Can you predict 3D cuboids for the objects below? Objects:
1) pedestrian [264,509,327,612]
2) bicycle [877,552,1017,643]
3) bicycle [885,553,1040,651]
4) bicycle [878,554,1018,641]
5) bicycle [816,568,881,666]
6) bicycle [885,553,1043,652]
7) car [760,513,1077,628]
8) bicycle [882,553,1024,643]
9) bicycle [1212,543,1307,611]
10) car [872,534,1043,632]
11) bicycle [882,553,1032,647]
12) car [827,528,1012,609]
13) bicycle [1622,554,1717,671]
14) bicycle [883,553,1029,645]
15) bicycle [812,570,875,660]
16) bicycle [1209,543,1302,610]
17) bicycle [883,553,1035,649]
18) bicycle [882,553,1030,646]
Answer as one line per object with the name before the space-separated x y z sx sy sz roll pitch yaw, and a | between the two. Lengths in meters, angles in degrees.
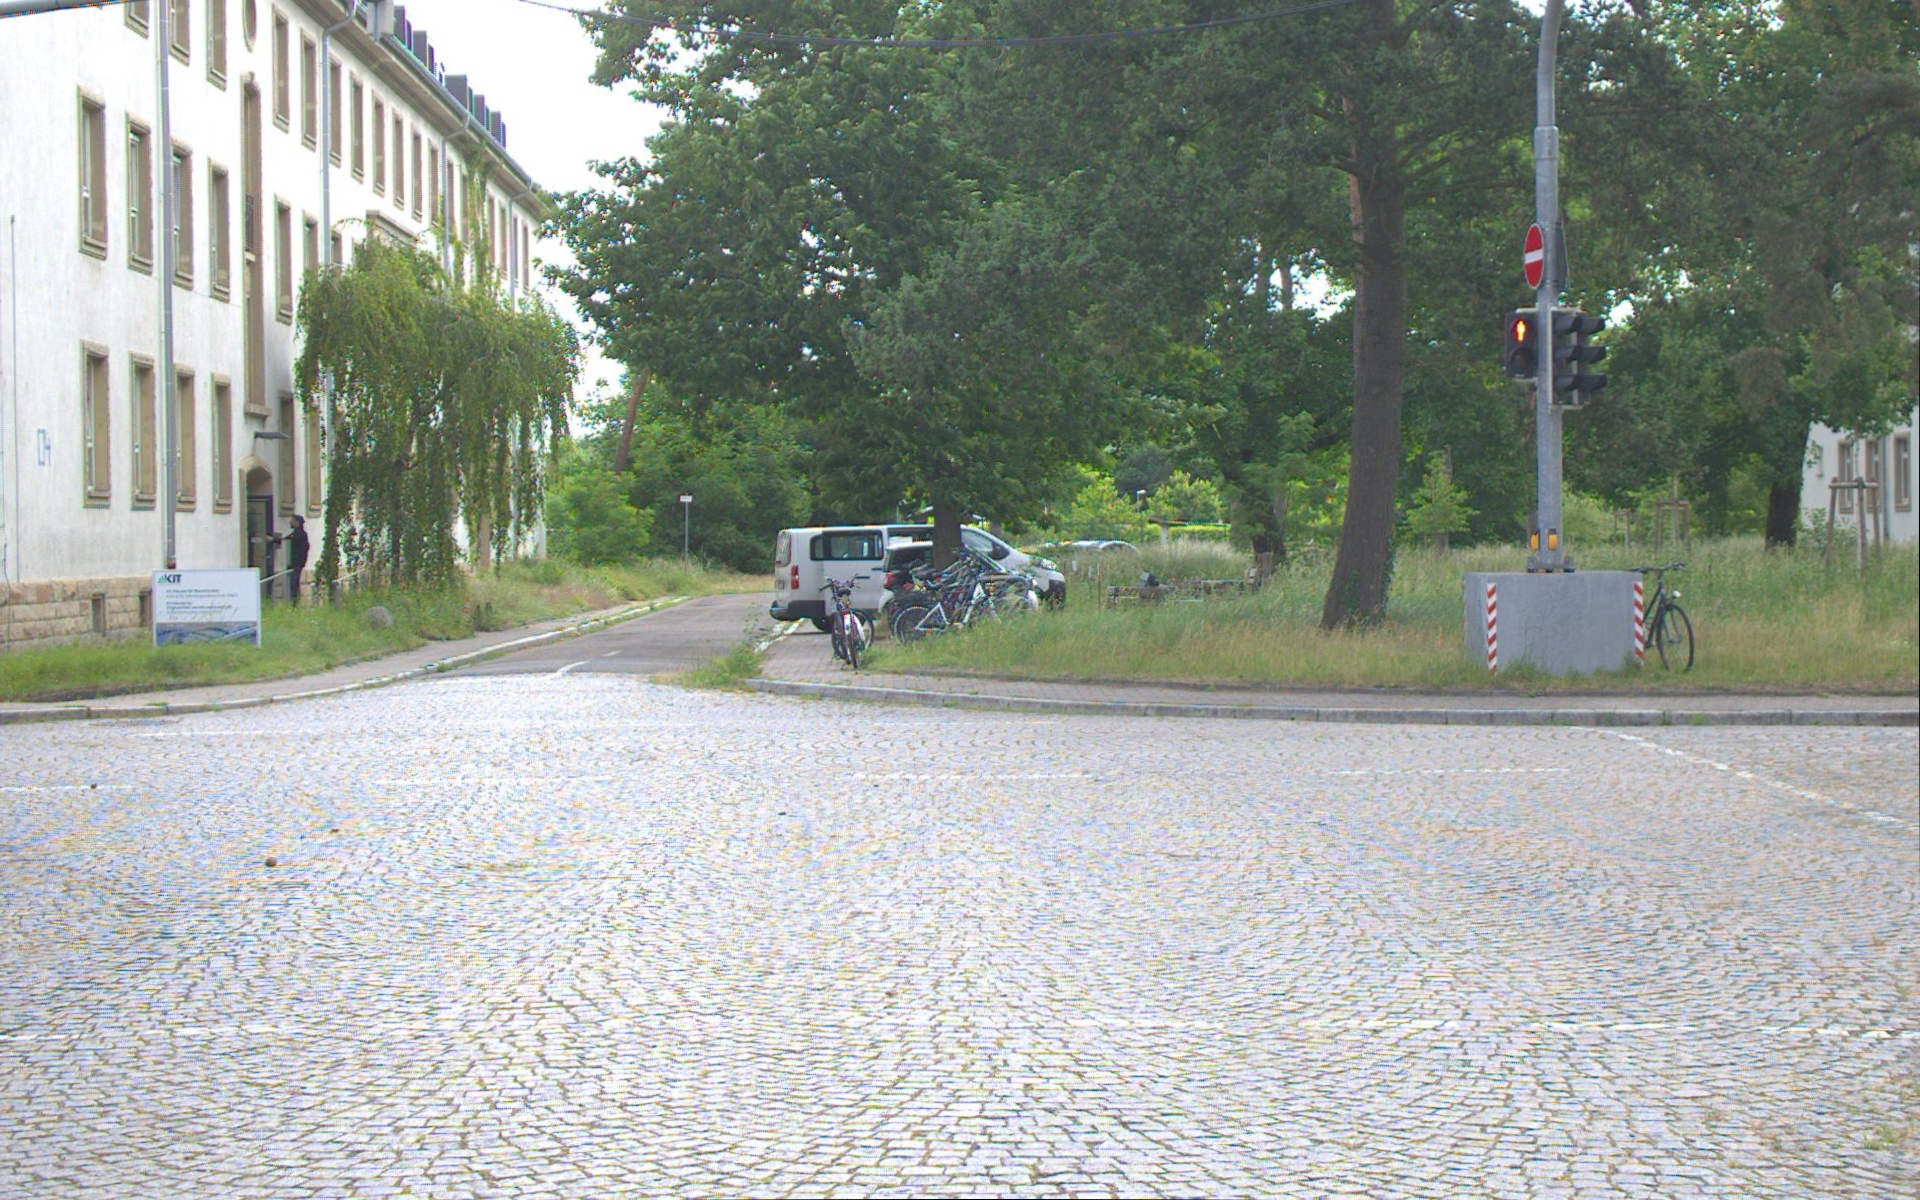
pedestrian | -11.532 -0.693 59.675 0.837 1.775 0.941 0 1 5
bicycle | -0.195 -0.047 50.192 1.982 1.243 0.624 -2 1 -2
bicycle | 0.024 0.019 44.504 1.982 1.243 0.624 0 0 -2
bicycle | -0.174 -0.040 49.532 1.982 1.243 0.624 0 0 -2
bicycle | -1.304 0.185 40.488 0.622 1.110 1.989 0 1 2
bicycle | 0.043 0.026 43.875 1.982 1.243 0.624 0 0 -2
car | -0.766 -0.549 61.965 5.303 1.909 2.150 -2 1 -15
bicycle | -0.105 -0.028 48.526 1.982 1.243 0.624 0 0 -2
bicycle | 5.001 -0.391 57.481 1.549 1.121 0.401 -1 1 1
car | -0.059 -0.302 58.498 2.847 1.552 1.472 -1 2 -1
bicycle | -0.044 -0.002 46.290 1.982 1.243 0.624 0 0 -2
car | -0.913 -0.708 75.853 4.031 1.712 1.681 -1 1 -2
bicycle | 6.492 0.099 31.512 0.580 0.967 1.678 -2 3 3
bicycle | -0.056 -0.015 47.448 1.982 1.243 0.624 0 0 -2
bicycle | -1.429 0.177 42.442 0.622 1.079 1.677 0 1 3
bicycle | 5.042 -0.408 58.713 1.549 1.121 0.401 -1 1 1
bicycle | -0.017 0.008 45.430 1.982 1.243 0.624 0 0 -2
bicycle | -0.056 -0.009 46.922 1.982 1.243 0.624 0 0 -2
